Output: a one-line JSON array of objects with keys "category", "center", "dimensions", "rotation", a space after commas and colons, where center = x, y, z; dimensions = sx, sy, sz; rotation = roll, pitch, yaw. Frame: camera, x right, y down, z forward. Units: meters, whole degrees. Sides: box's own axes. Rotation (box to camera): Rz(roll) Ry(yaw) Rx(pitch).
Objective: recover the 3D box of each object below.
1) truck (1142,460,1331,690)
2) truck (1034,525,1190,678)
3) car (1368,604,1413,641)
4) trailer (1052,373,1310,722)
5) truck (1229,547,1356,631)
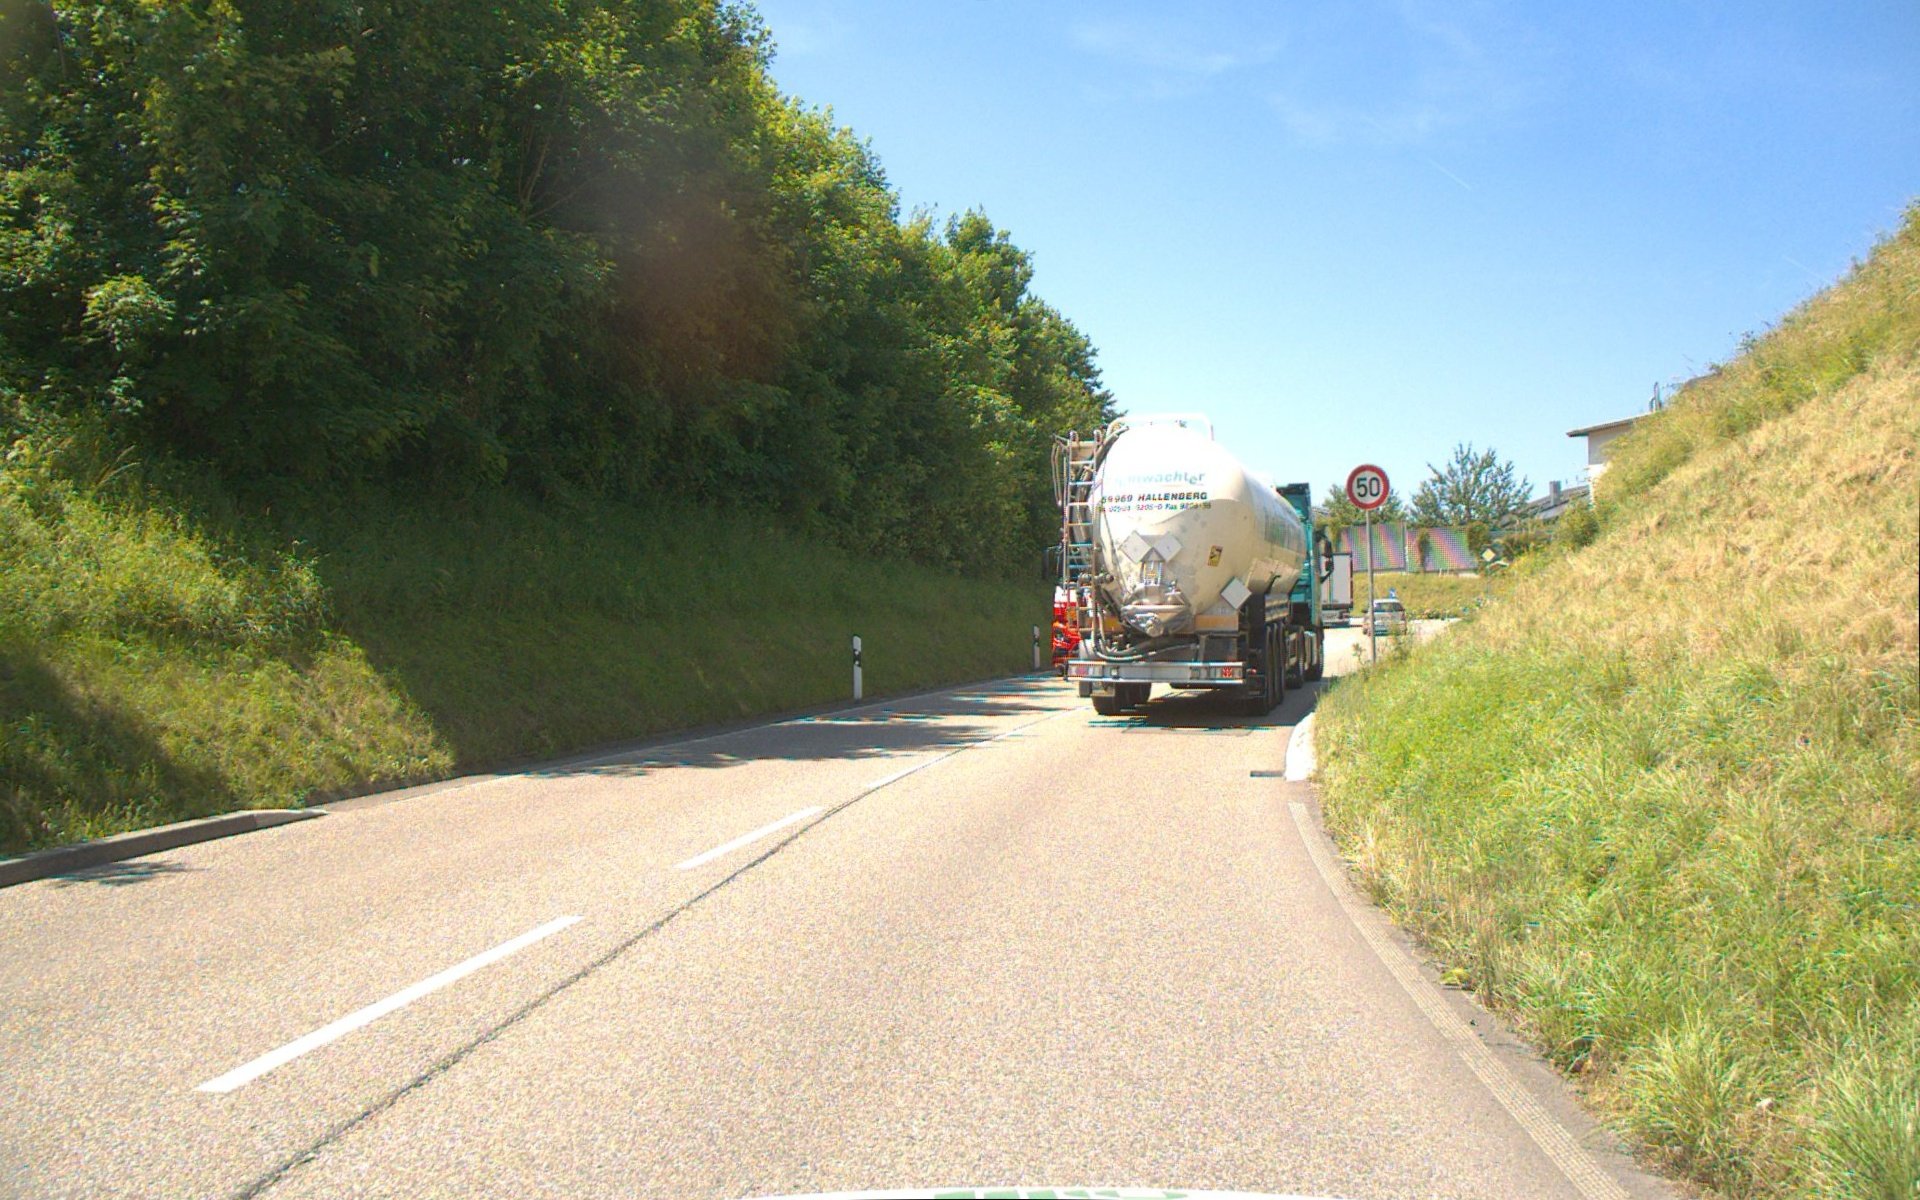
[{"category": "truck", "center": [5.622, -0.405, 32.572], "dimensions": [2.670, 3.998, 7.266], "rotation": [0, -1, 18]}, {"category": "truck", "center": [3.700, 0.069, 38.686], "dimensions": [2.570, 3.226, 7.073], "rotation": [-1, -1, 14]}, {"category": "car", "center": [18.728, 0.983, 71.833], "dimensions": [1.613, 1.536, 3.639], "rotation": [1, -1, 19]}, {"category": "trailer", "center": [3.931, -0.580, 26.303], "dimensions": [2.604, 4.262, 11.912], "rotation": [-1, -1, 14]}, {"category": "truck", "center": [18.486, -0.602, 93.070], "dimensions": [3.131, 4.385, 11.775], "rotation": [1, 0, -9]}]
